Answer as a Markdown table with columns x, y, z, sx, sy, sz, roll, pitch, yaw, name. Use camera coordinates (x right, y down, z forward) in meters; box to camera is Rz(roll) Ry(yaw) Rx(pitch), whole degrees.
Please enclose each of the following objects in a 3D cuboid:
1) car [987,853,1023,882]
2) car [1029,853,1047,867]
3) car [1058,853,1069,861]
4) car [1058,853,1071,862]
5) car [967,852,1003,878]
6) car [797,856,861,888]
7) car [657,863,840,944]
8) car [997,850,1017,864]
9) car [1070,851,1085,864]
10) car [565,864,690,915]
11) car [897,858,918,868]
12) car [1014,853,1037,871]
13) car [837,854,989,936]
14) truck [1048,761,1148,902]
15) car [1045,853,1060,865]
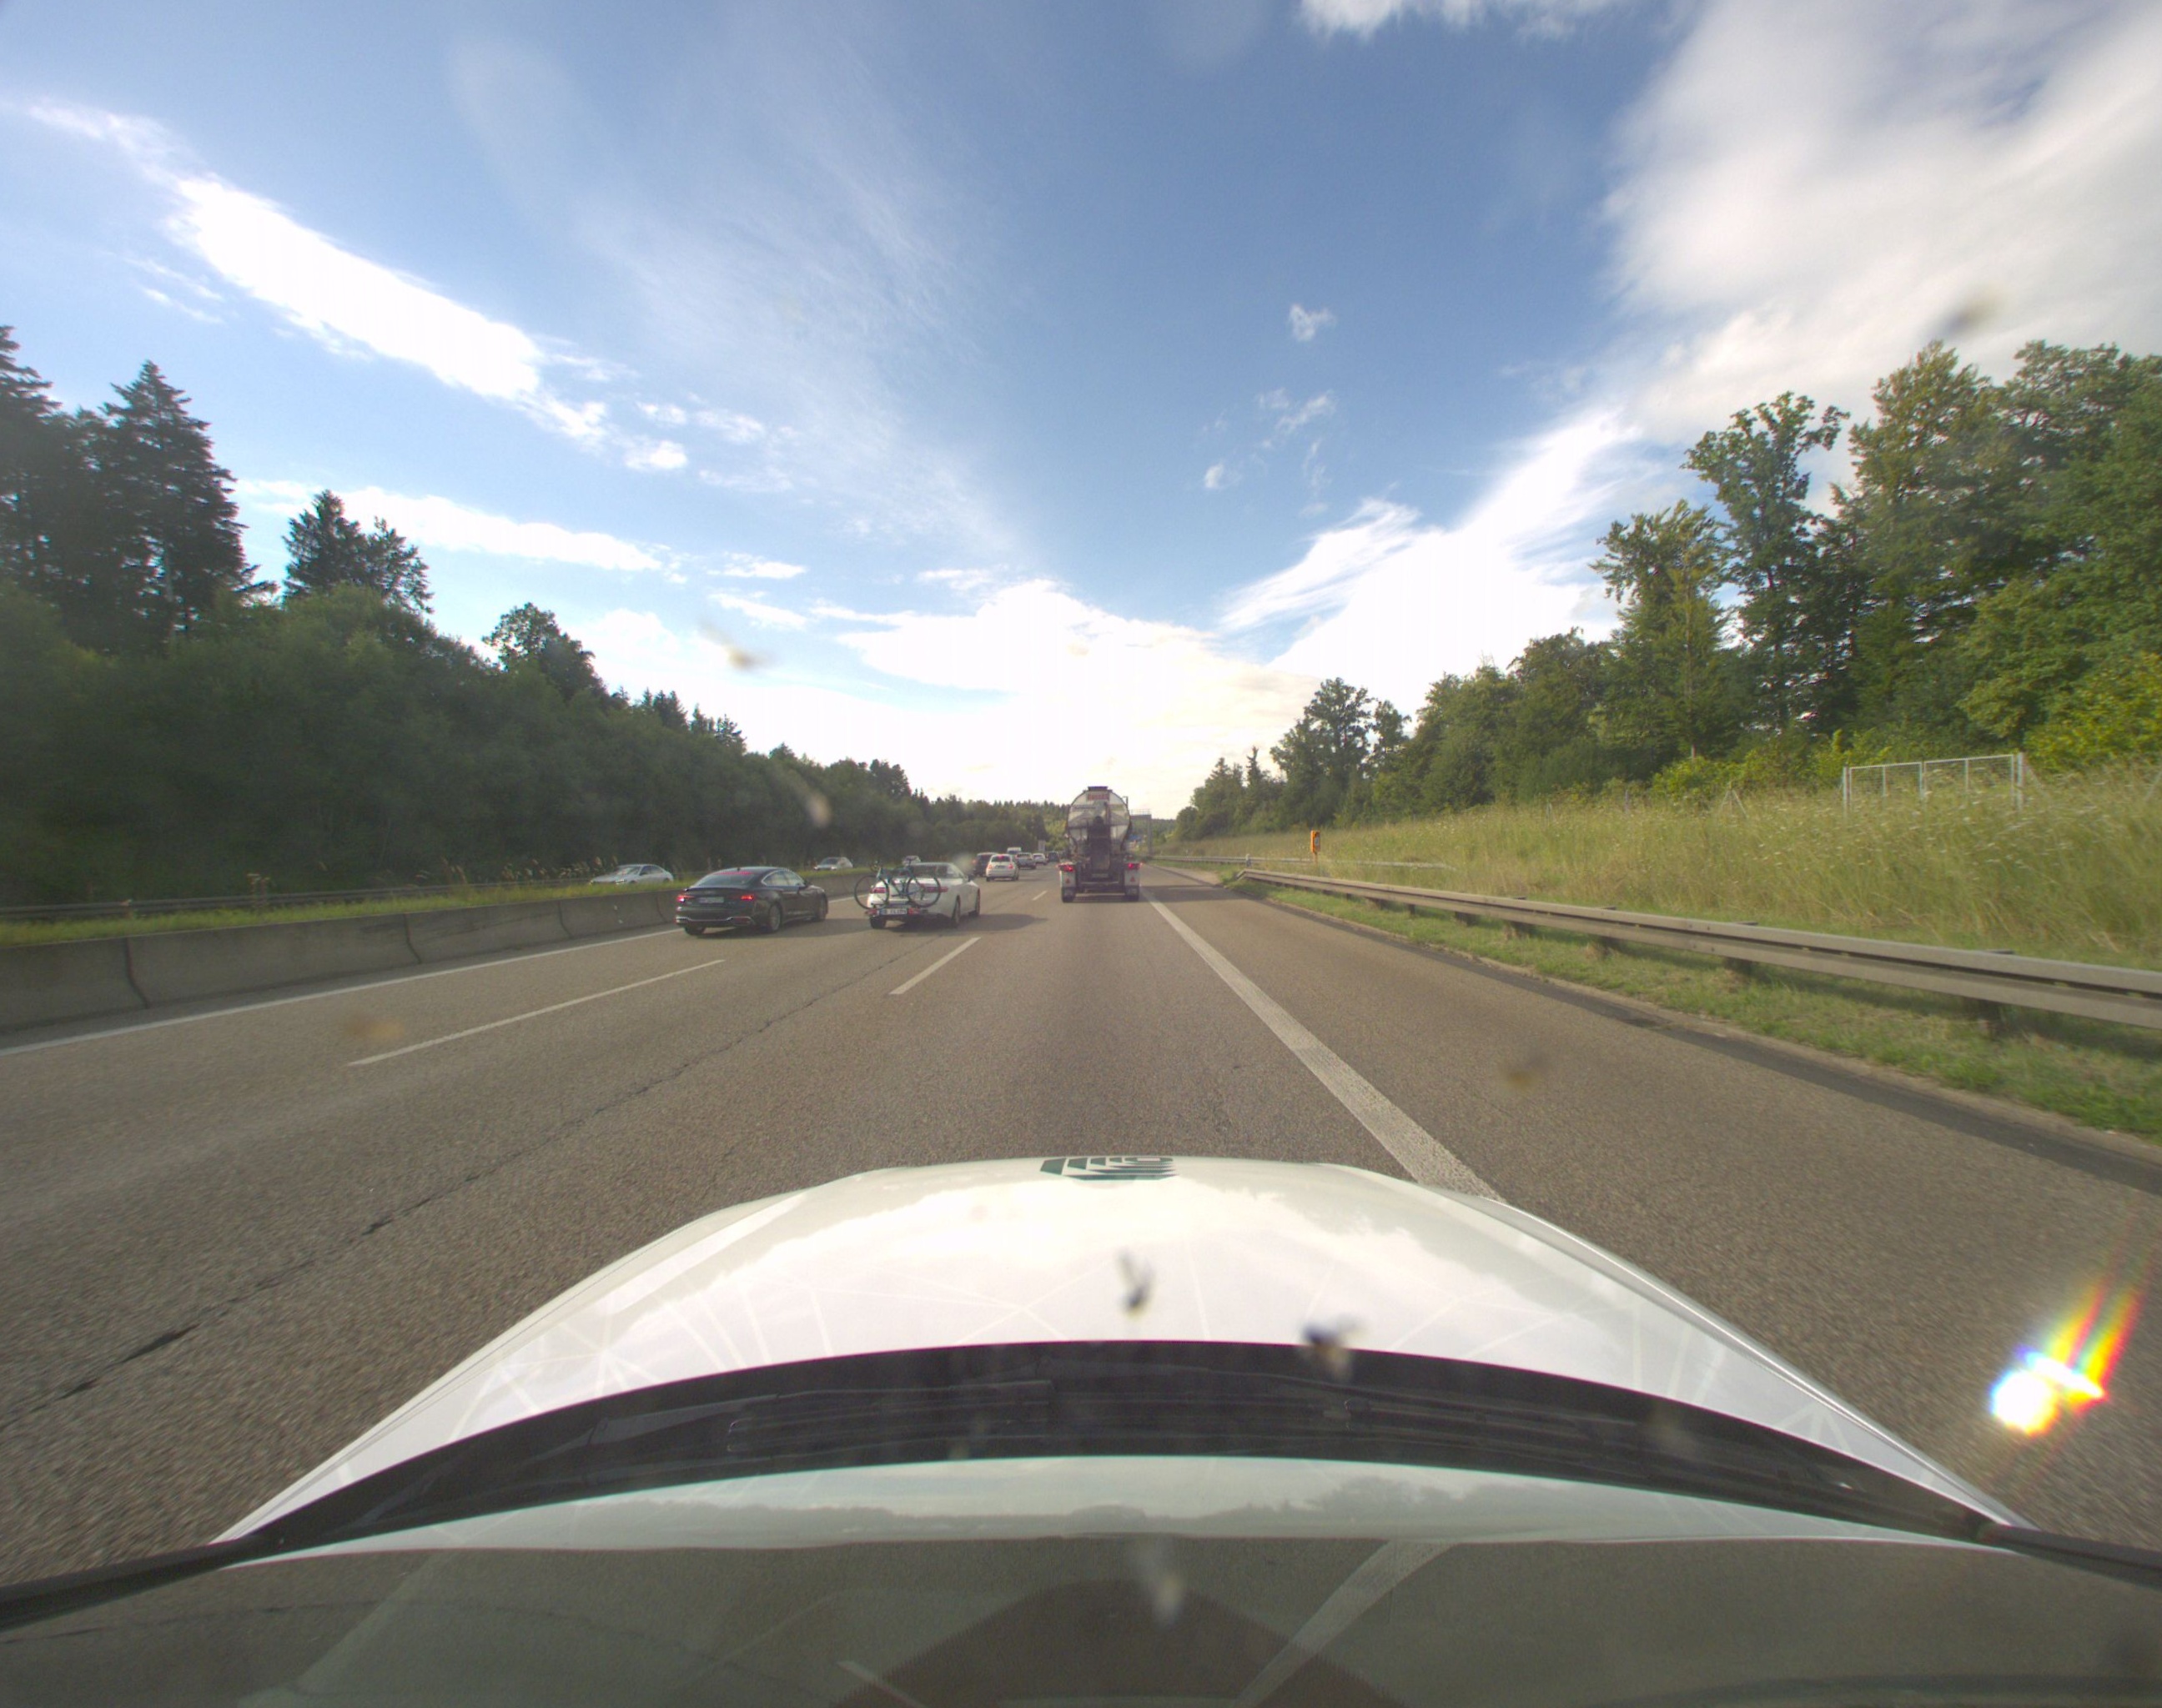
| x | y | z | sx | sy | sz | roll | pitch | yaw | name |
| --- | --- | --- | --- | --- | --- | --- | --- | --- | --- |
| -4.284 | 0.727 | 46.375 | 1.612 | 1.544 | 3.521 | -1 | 0 | 1 | car |
| -5.195 | 0.681 | 98.806 | 1.800 | 1.585 | 4.208 | -1 | 1 | 1 | car |
| -3.421 | 0.600 | 160.324 | 1.935 | 1.456 | 4.208 | -1 | 1 | 1 | car |
| -2.806 | 0.563 | 138.885 | 1.935 | 1.456 | 4.208 | -1 | 1 | 1 | car |
| -6.474 | 0.705 | 55.247 | 1.800 | 1.585 | 4.208 | -1 | 1 | 1 | car |
| -18.116 | 1.247 | 59.010 | 2.569 | 2.138 | 5.968 | -1 | 0 | 2 | car |
| -7.018 | 0.965 | 17.857 | 1.849 | 1.431 | 4.843 | -1 | 0 | 2 | car |
| -12.451 | 0.468 | 136.999 | 2.569 | 2.346 | 5.831 | -1 | 0 | 2 | car |
| -0.486 | 0.516 | 110.810 | 1.935 | 1.654 | 4.208 | -1 | 1 | 1 | car |
| -21.944 | 1.635 | 39.833 | 2.569 | 2.138 | 5.968 | -1 | 0 | 2 | car |
| -20.176 | 1.038 | 94.704 | 1.585 | 1.094 | 3.174 | -1 | 0 | 2 | car |
| -5.126 | 0.713 | 75.855 | 1.800 | 1.585 | 4.208 | -1 | 1 | 1 | car |
| -3.551 | 0.792 | 18.484 | 2.052 | 1.499 | 5.738 | -1 | 0 | 2 | car |
| 0.712 | -0.698 | 30.149 | 2.901 | 4.157 | 11.275 | -1 | 0 | 2 | truck |
| -4.057 | 0.690 | 117.670 | 1.935 | 1.585 | 4.208 | -1 | 1 | 1 | car |
